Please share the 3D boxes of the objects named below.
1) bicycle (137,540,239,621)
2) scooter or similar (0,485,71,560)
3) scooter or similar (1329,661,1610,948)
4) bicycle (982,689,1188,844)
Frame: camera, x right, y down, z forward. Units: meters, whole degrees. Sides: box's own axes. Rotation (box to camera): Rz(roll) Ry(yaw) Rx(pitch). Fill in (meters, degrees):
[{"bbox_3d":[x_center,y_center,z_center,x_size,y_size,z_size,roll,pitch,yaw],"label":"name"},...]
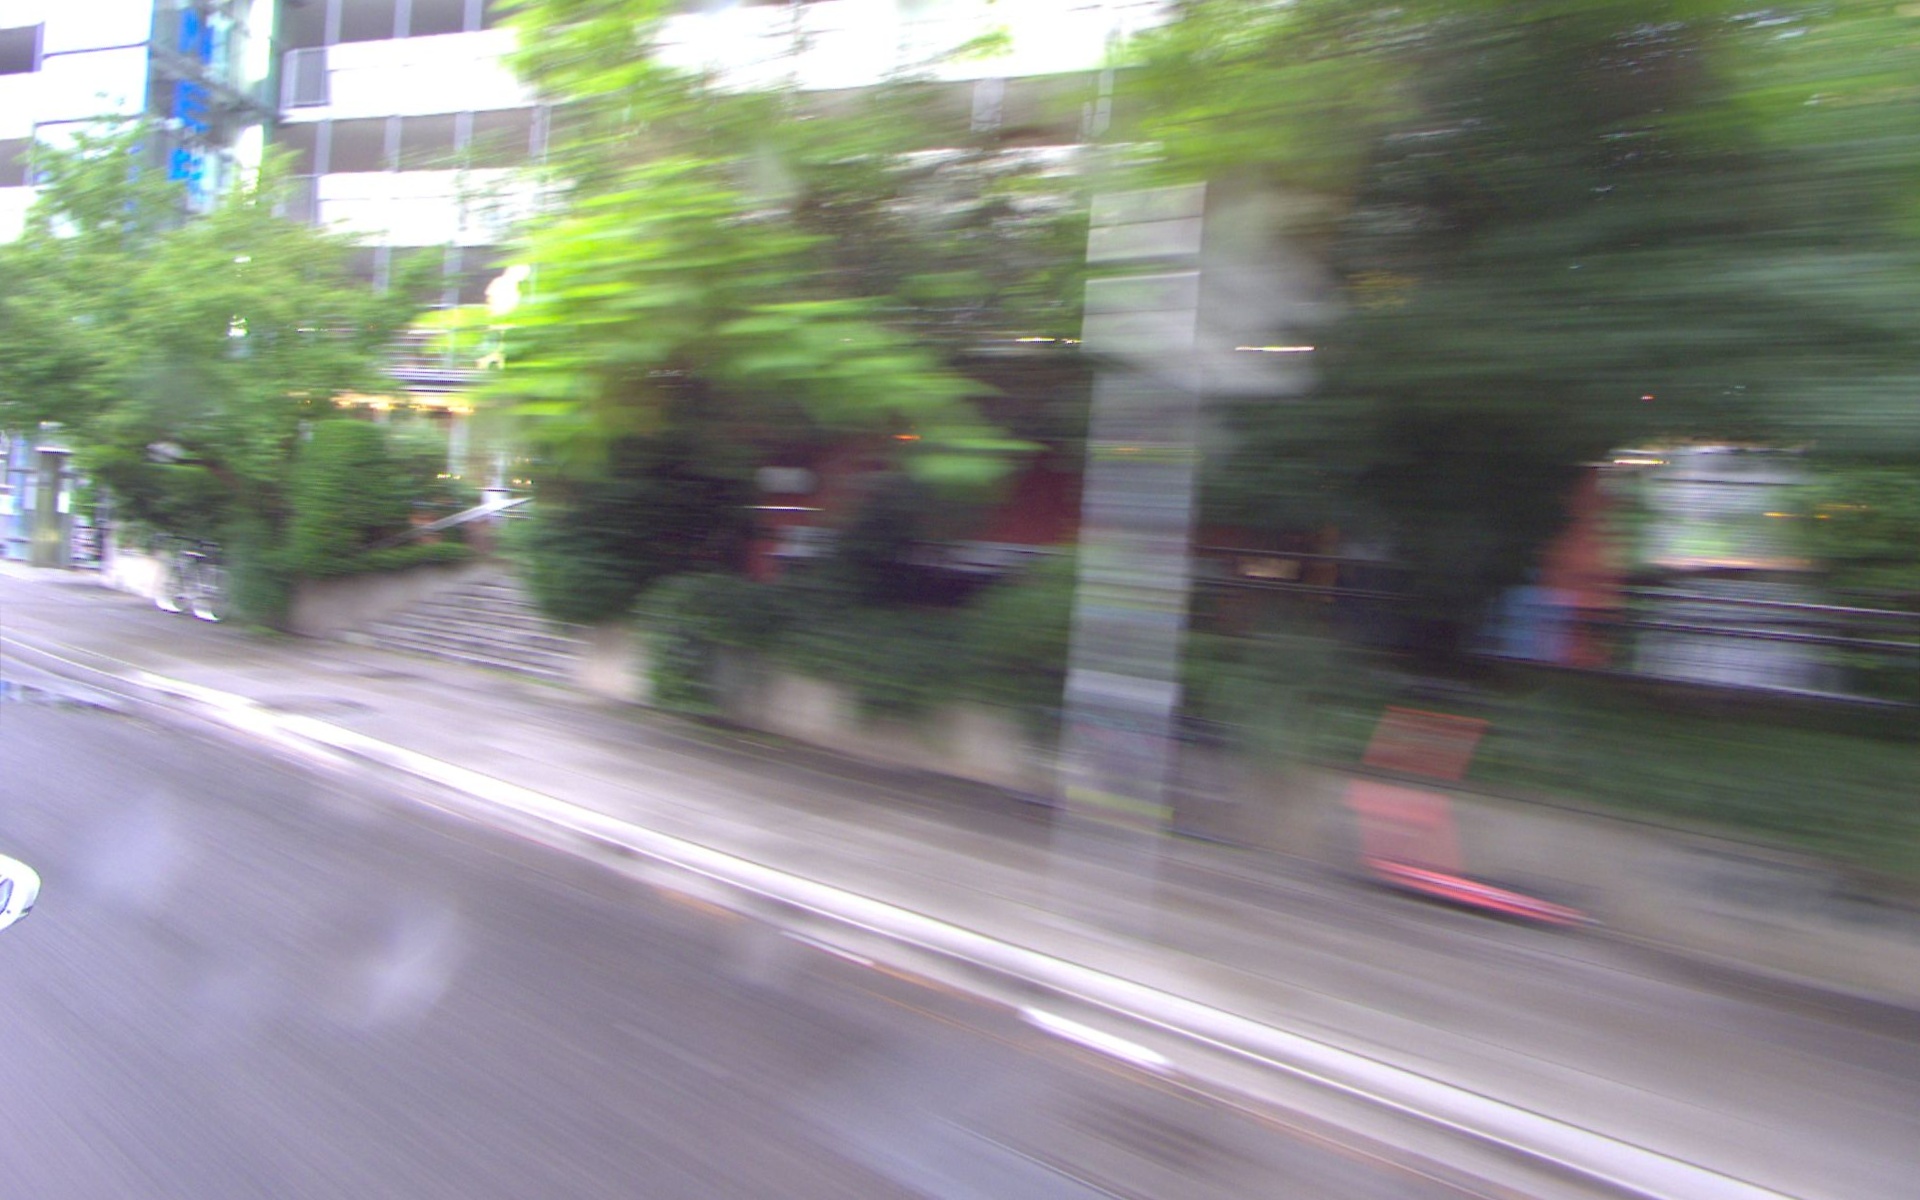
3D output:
[{"bbox_3d":[-10.247,-0.271,13.342,1.662,0.896,0.470,7,1,32],"label":"bicycle"},{"bbox_3d":[-17.583,-1.447,18.556,0.729,1.284,1.640,7,2,7],"label":"scooter or similar"},{"bbox_3d":[2.750,1.049,5.488,1.191,1.276,0.447,7,3,32],"label":"scooter or similar"},{"bbox_3d":[0.818,1.068,6.684,1.191,0.764,0.500,7,3,32],"label":"bicycle"}]
